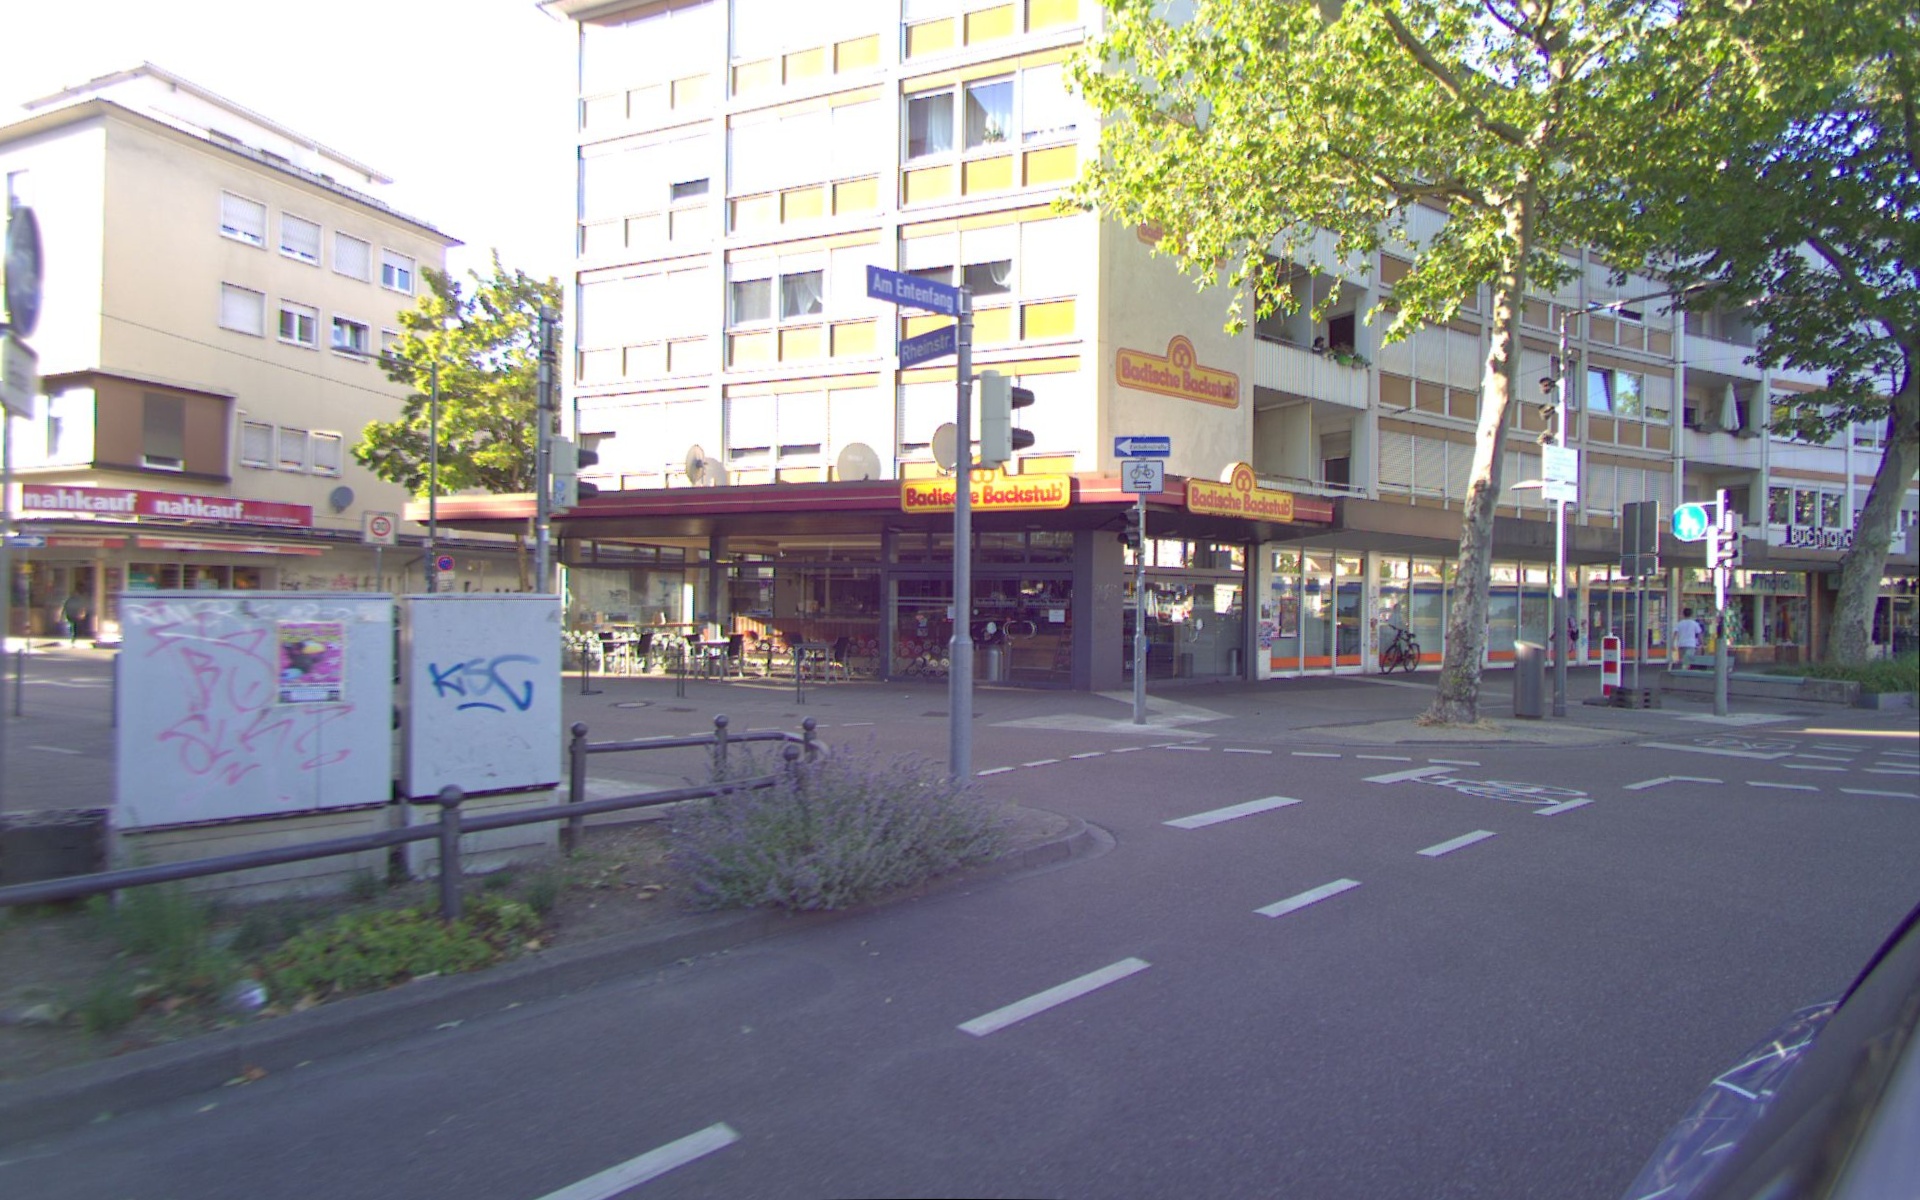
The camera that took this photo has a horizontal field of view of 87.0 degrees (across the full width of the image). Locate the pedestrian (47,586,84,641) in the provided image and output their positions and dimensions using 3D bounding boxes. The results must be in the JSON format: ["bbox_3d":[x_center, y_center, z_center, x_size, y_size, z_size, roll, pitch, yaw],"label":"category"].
[{"bbox_3d":[-26.206,0.412,29.652,0.690,1.596,0.656,-2,-3,38],"label":"pedestrian"}]

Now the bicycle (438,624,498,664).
[{"bbox_3d":[-12.935,1.140,26.652,0.352,0.994,1.595,-1,-1,22],"label":"bicycle"}]

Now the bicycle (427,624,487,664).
[{"bbox_3d":[-13.316,1.158,26.825,0.352,0.994,1.595,-1,-1,22],"label":"bicycle"}]

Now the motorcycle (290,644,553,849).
[{"bbox_3d":[-3.414,0.889,6.533,1.430,1.173,0.573,0,-2,-25],"label":"motorcycle"}]

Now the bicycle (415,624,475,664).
[{"bbox_3d":[-13.705,1.161,26.979,0.352,0.994,1.595,-1,-1,22],"label":"bicycle"}]

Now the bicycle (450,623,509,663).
[{"bbox_3d":[-12.570,1.106,26.505,0.352,0.994,1.595,-1,-1,22],"label":"bicycle"}]

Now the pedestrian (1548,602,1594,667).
[{"bbox_3d":[15.258,0.845,25.271,0.791,1.571,0.642,1,1,-28],"label":"pedestrian"}]

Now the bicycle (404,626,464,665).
[{"bbox_3d":[-14.074,1.196,27.125,0.352,0.994,1.595,-1,-1,22],"label":"bicycle"}]

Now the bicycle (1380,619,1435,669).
[{"bbox_3d":[10.498,1.021,23.752,1.433,1.106,0.439,1,2,-34],"label":"bicycle"}]

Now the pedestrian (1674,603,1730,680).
[{"bbox_3d":[17.420,0.967,23.760,0.779,1.734,0.837,2,1,-38],"label":"pedestrian"}]

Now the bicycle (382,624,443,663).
[{"bbox_3d":[-14.820,1.166,27.442,0.352,0.994,1.595,-1,-1,22],"label":"bicycle"}]

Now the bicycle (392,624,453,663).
[{"bbox_3d":[-14.470,1.160,27.272,0.352,0.994,1.595,-1,-1,22],"label":"bicycle"}]

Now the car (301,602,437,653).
[{"bbox_3d":[-19.795,0.877,34.043,1.642,1.608,3.699,0,0,25],"label":"car"}]
